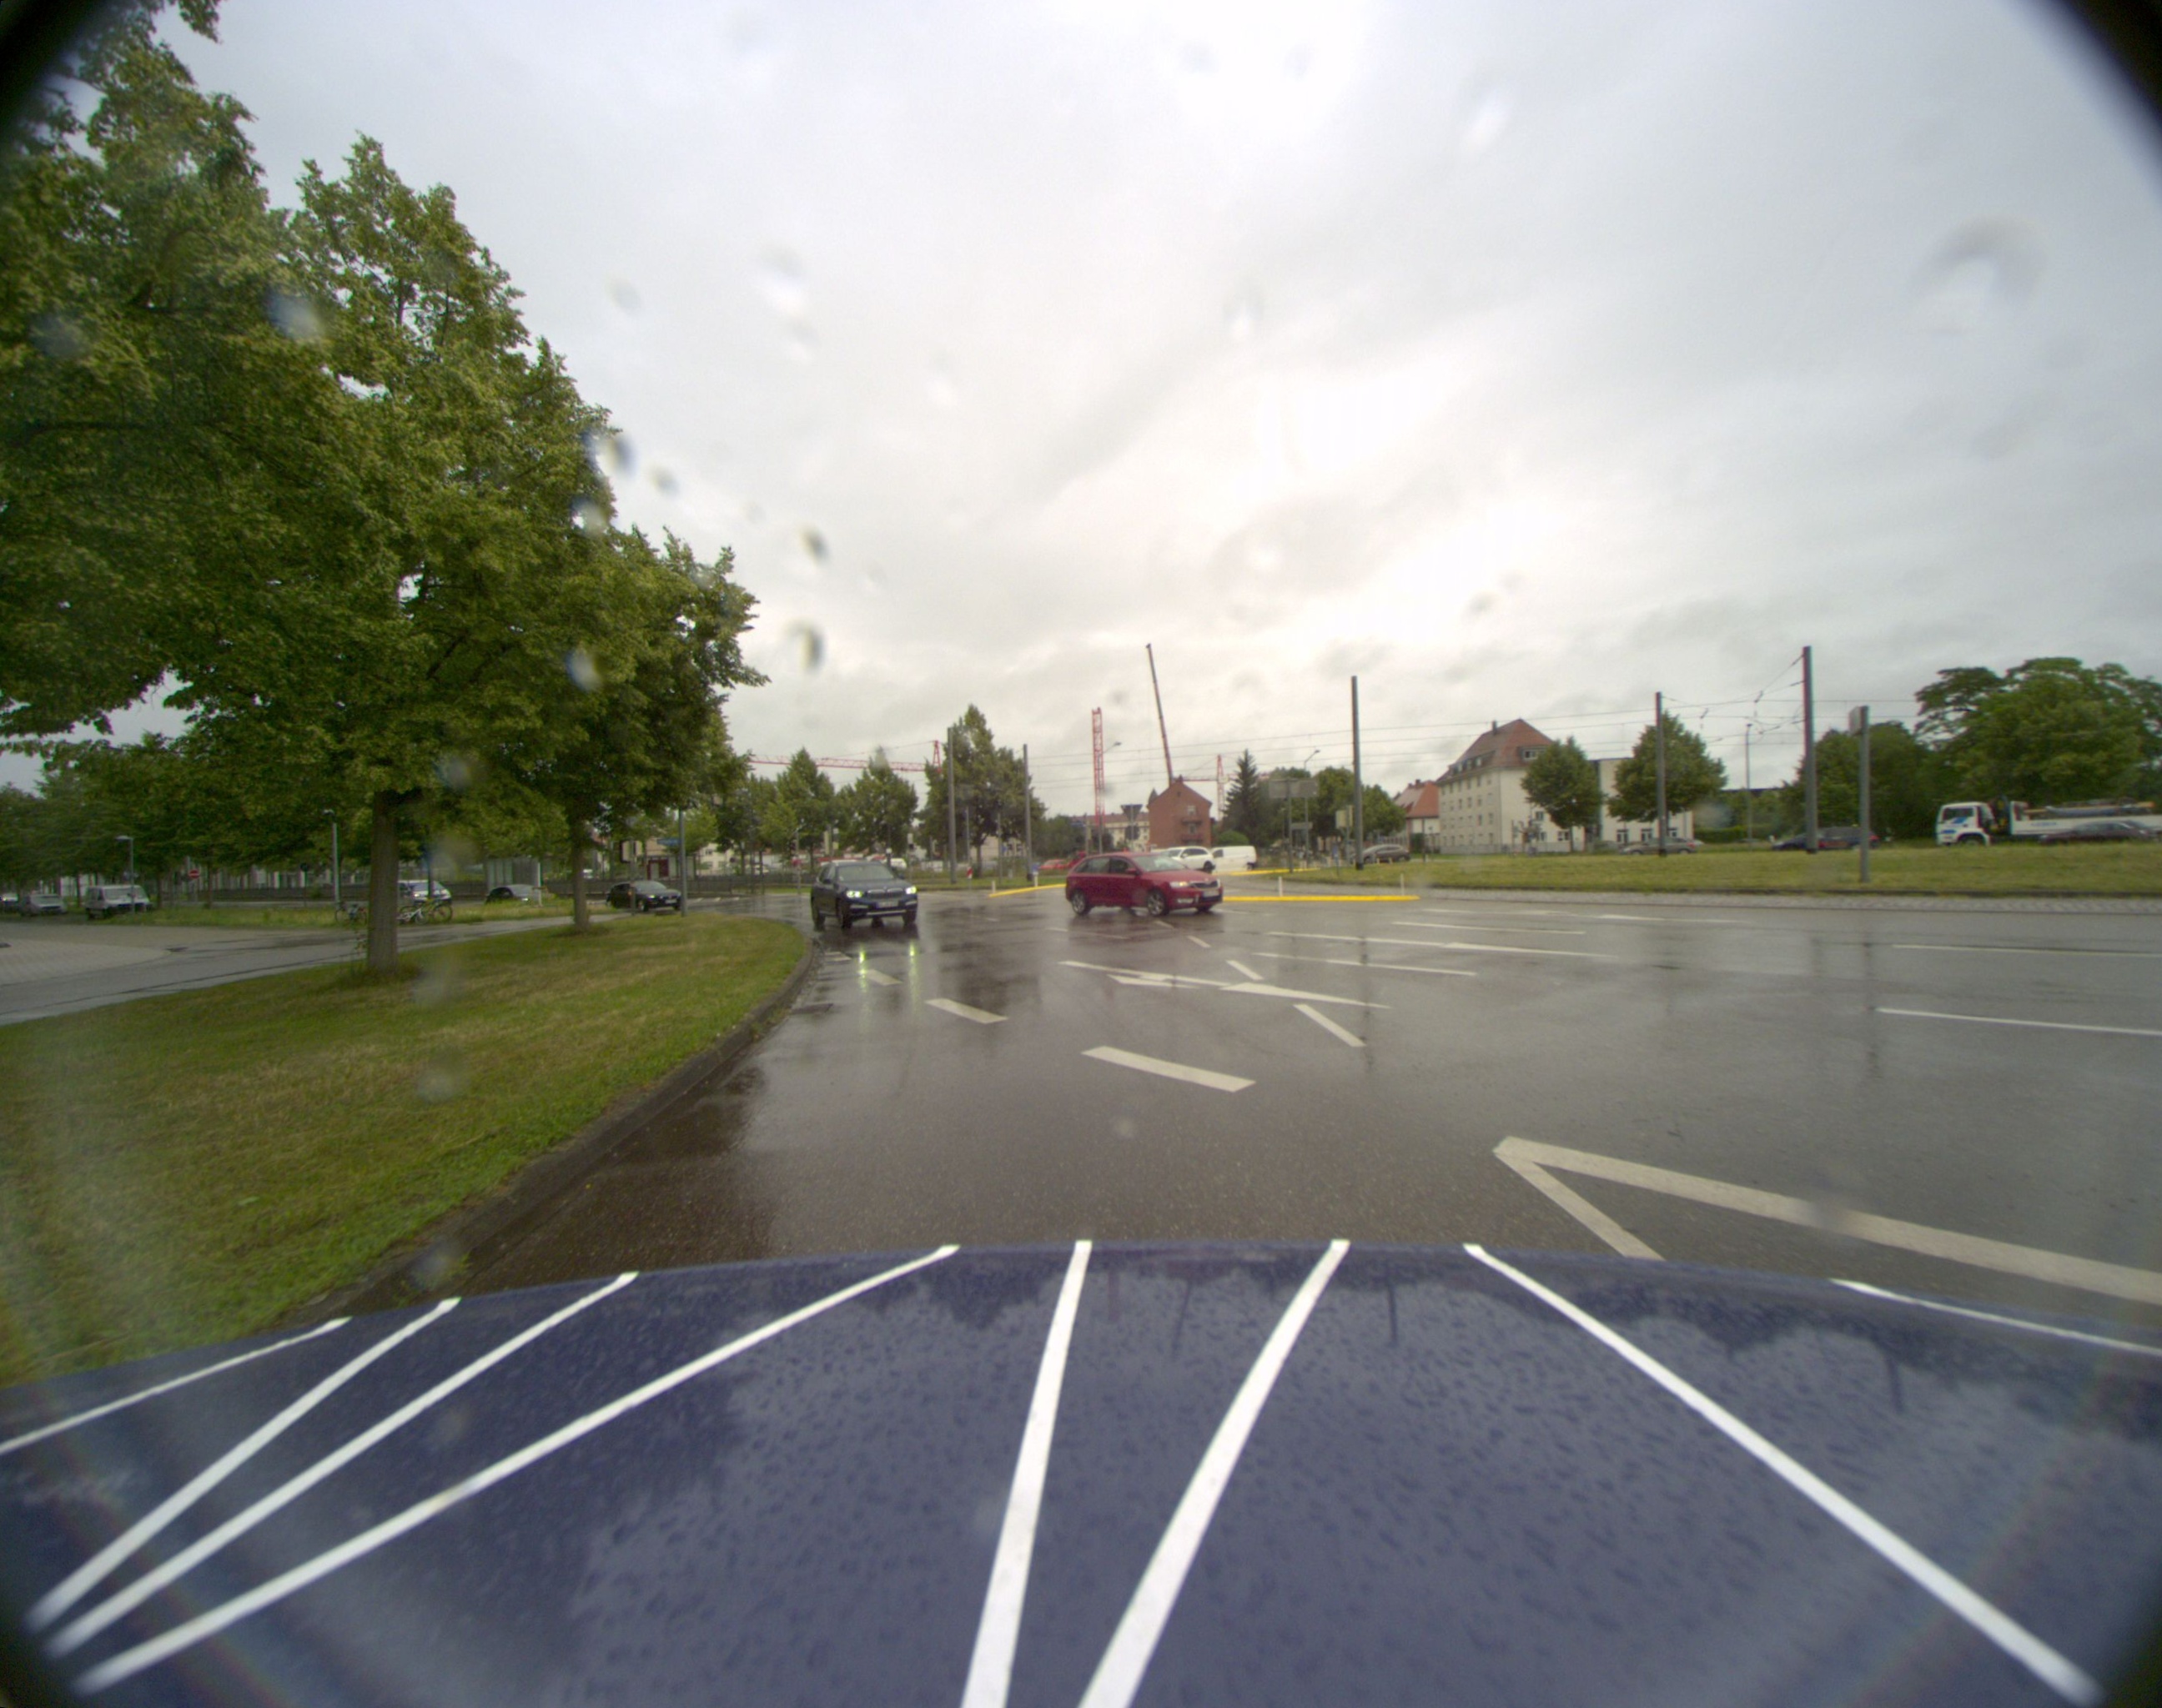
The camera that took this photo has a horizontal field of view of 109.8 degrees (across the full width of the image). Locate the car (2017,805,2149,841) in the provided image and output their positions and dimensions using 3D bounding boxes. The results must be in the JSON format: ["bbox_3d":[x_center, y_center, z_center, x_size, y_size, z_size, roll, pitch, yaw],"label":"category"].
[{"bbox_3d":[50.832,-1.554,38.625,1.792,1.639,3.989,-5,3,-35],"label":"car"}]

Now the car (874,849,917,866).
[{"bbox_3d":[-31.447,0.621,128.729,6.820,2.463,2.504,-2,3,25],"label":"car"}]

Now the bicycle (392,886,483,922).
[{"bbox_3d":[-24.304,1.875,28.749,2.527,1.182,0.552,-3,1,-20],"label":"bicycle"}]

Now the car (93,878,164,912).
[{"bbox_3d":[-67.399,2.874,53.757,5.084,2.190,2.089,-2,3,28],"label":"car"}]

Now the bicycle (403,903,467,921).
[{"bbox_3d":[-24.220,2.174,28.517,1.804,0.555,0.320,-3,1,-20],"label":"bicycle"}]

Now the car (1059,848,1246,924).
[{"bbox_3d":[1.537,0.709,17.758,1.792,1.451,4.304,-5,2,-39],"label":"car"}]

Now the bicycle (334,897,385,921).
[{"bbox_3d":[-27.386,2.074,28.833,2.158,0.842,0.637,-2,1,26],"label":"bicycle"}]

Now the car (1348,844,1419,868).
[{"bbox_3d":[22.338,0.135,56.160,4.547,1.484,1.610,-3,3,-4],"label":"car"}]

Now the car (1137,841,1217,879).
[{"bbox_3d":[5.431,0.297,42.557,4.874,1.734,1.773,-5,4,-44],"label":"car"}]

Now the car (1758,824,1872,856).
[{"bbox_3d":[43.993,-0.839,45.634,1.781,1.734,4.852,-5,4,-44],"label":"car"}]

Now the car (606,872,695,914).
[{"bbox_3d":[-20.414,1.779,35.969,4.370,1.737,1.921,-1,3,36],"label":"car"}]

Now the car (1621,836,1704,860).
[{"bbox_3d":[41.103,-0.410,53.843,4.537,1.484,1.614,-1,3,33],"label":"car"}]

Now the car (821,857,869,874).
[{"bbox_3d":[-38.767,1.859,124.749,7.620,2.463,2.360,-2,3,25],"label":"car"}]

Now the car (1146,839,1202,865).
[{"bbox_3d":[11.477,-0.259,93.967,6.409,2.923,2.361,-1,3,39],"label":"car"}]

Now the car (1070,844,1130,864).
[{"bbox_3d":[2.053,0.021,83.609,6.409,2.003,2.361,-1,3,39],"label":"car"}]

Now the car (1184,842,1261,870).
[{"bbox_3d":[10.011,0.086,53.879,5.025,1.634,1.829,-3,3,-9],"label":"car"}]

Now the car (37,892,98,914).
[{"bbox_3d":[-82.636,3.993,61.948,3.991,1.543,2.002,-2,3,23],"label":"car"}]

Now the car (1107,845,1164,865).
[{"bbox_3d":[6.334,0.124,89.061,6.410,2.002,2.361,-2,1,39],"label":"car"}]

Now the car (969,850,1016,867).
[{"bbox_3d":[-14.091,0.711,121.135,6.824,2.462,2.359,-2,1,15],"label":"car"}]

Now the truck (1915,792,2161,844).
[{"bbox_3d":[55.752,-1.986,44.675,2.002,2.696,8.775,-4,3,-29],"label":"truck"}]

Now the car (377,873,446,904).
[{"bbox_3d":[-41.116,2.111,46.679,3.990,1.639,1.791,-2,3,28],"label":"car"}]

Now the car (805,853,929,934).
[{"bbox_3d":[-5.718,0.919,19.946,1.920,1.737,4.372,-5,3,-31],"label":"car"}]
